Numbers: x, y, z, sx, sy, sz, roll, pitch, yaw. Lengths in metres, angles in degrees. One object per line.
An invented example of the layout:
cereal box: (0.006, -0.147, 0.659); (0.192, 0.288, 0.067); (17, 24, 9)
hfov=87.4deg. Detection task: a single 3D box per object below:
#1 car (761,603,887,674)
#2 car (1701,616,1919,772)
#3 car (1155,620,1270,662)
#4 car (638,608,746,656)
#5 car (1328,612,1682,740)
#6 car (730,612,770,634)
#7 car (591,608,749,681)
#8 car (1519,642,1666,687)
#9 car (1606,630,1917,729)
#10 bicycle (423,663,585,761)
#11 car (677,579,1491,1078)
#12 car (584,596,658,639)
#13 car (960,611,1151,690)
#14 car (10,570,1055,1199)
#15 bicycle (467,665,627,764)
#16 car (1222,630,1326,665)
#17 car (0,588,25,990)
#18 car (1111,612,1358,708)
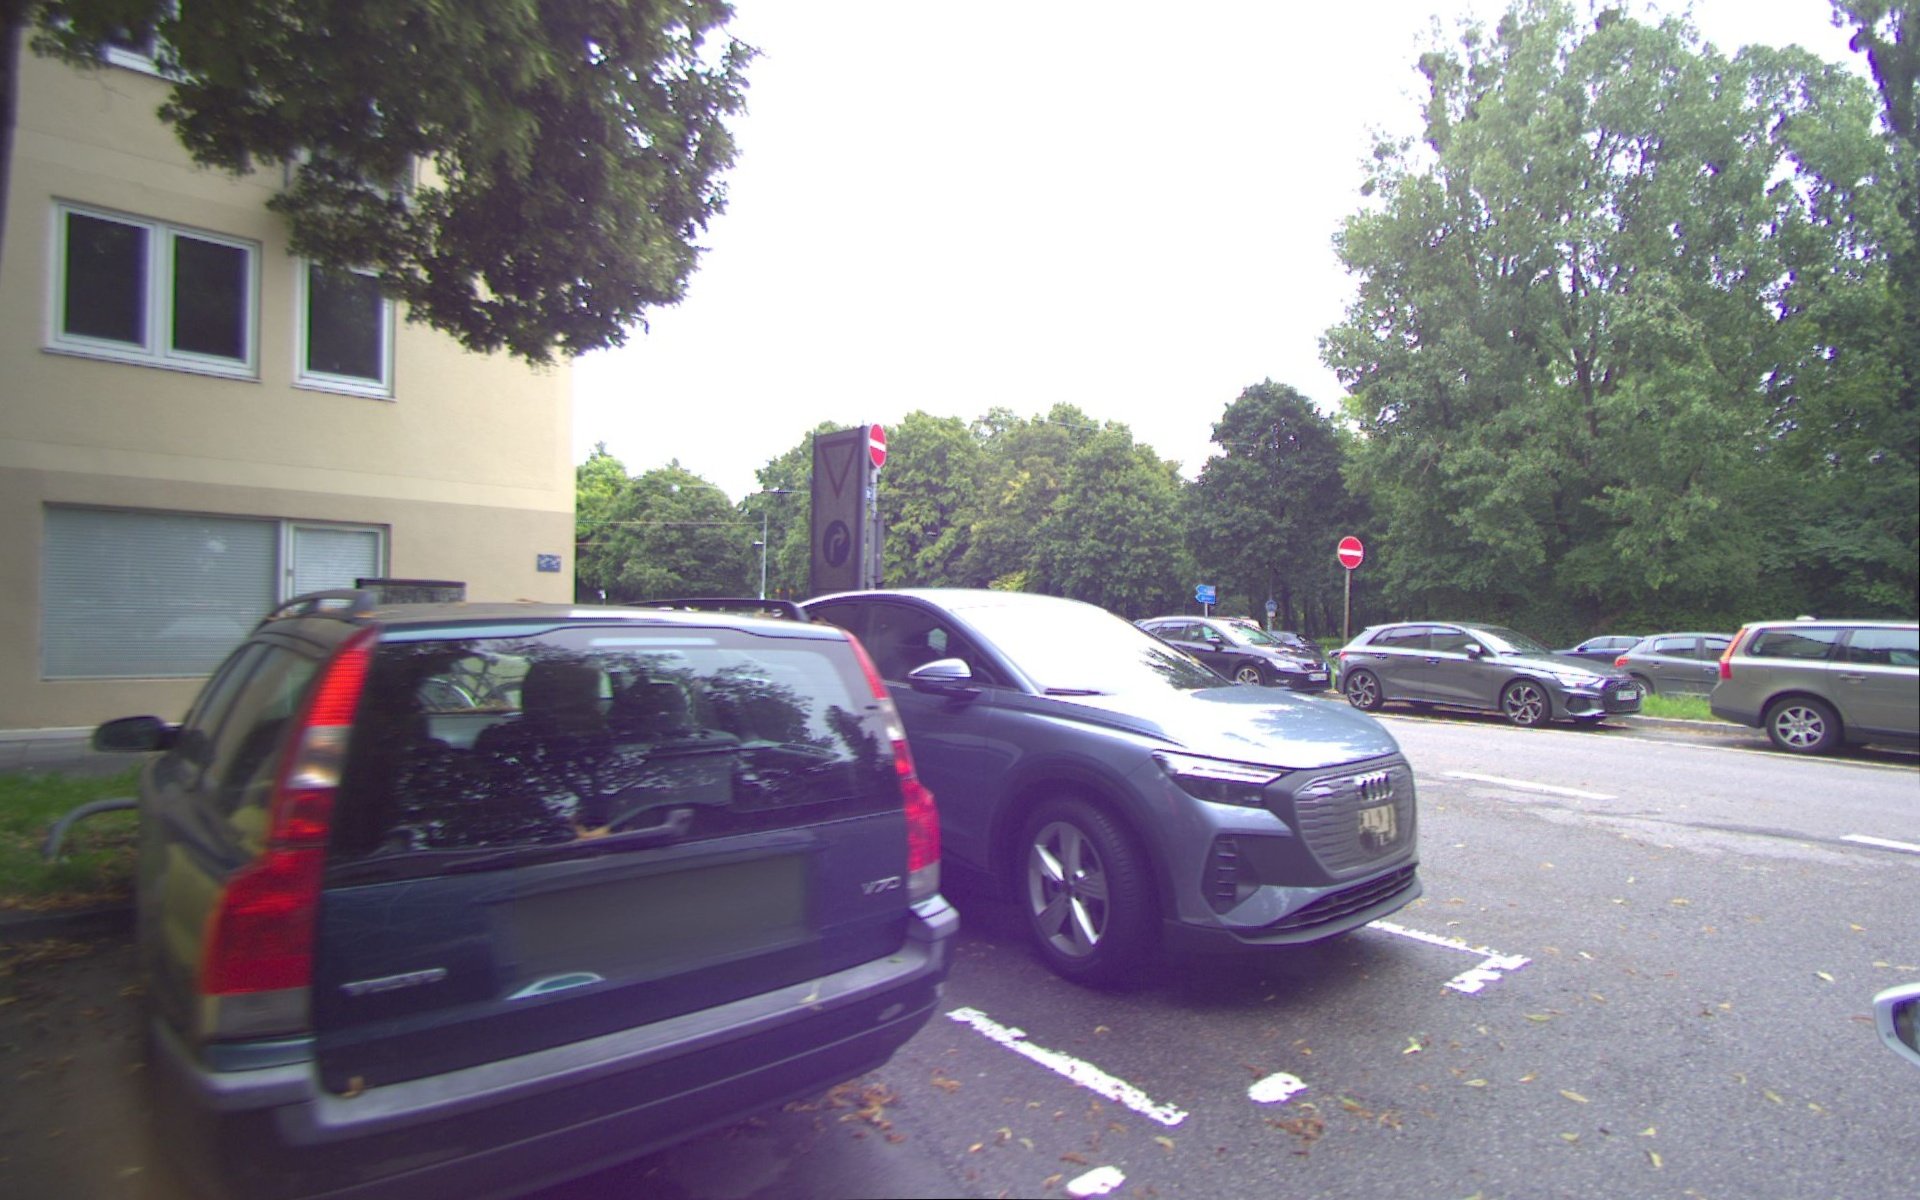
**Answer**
car: (-4.266, 1.159, 31.183); (1.985, 2.040, 3.951); (2, -1, -42)
car: (10.946, 1.010, 10.576); (1.885, 1.586, 4.727); (2, -1, -33)
car: (9.680, 1.540, 38.684); (1.981, 1.465, 3.960); (2, -1, -36)
car: (-10.520, 1.207, 39.141); (2.060, 1.725, 5.029); (2, -1, -41)
car: (7.919, 1.014, 14.996); (1.972, 1.586, 4.244); (2, -1, -33)
car: (-18.242, 1.995, 87.095); (1.851, 1.769, 3.955); (2, -1, -39)
car: (-7.099, 0.993, 24.319); (2.113, 1.586, 4.456); (0, 0, -39)
car: (23.467, 2.362, 37.378); (1.986, 1.465, 4.264); (4, -2, -42)
car: (14.192, 1.332, 18.018); (1.746, 1.480, 4.037); (2, -1, -33)
bicycle: (-3.662, 0.884, 8.116); (1.141, 0.717, 0.279); (2, -1, -41)
car: (0.275, 0.750, 5.387); (1.812, 1.586, 4.194); (2, -1, -41)
car: (-21.236, 1.052, 62.800); (2.175, 2.496, 5.778); (2, 0, -42)
car: (2.101, 1.098, 23.037); (1.977, 1.586, 4.235); (2, -1, -39)
car: (-1.889, 0.732, 3.613); (2.039, 1.486, 4.194); (2, -1, -41)
bicycle: (-3.285, 0.895, 8.045); (1.141, 0.717, 0.279); (2, -1, -41)
car: (14.747, 2.209, 47.283); (1.986, 1.465, 4.264); (4, -2, -42)
car: (-3.462, 0.676, 2.191); (1.904, 1.486, 4.194); (2, -1, -41)
car: (5.090, 1.057, 19.145); (1.975, 1.586, 4.239); (2, -1, -36)
